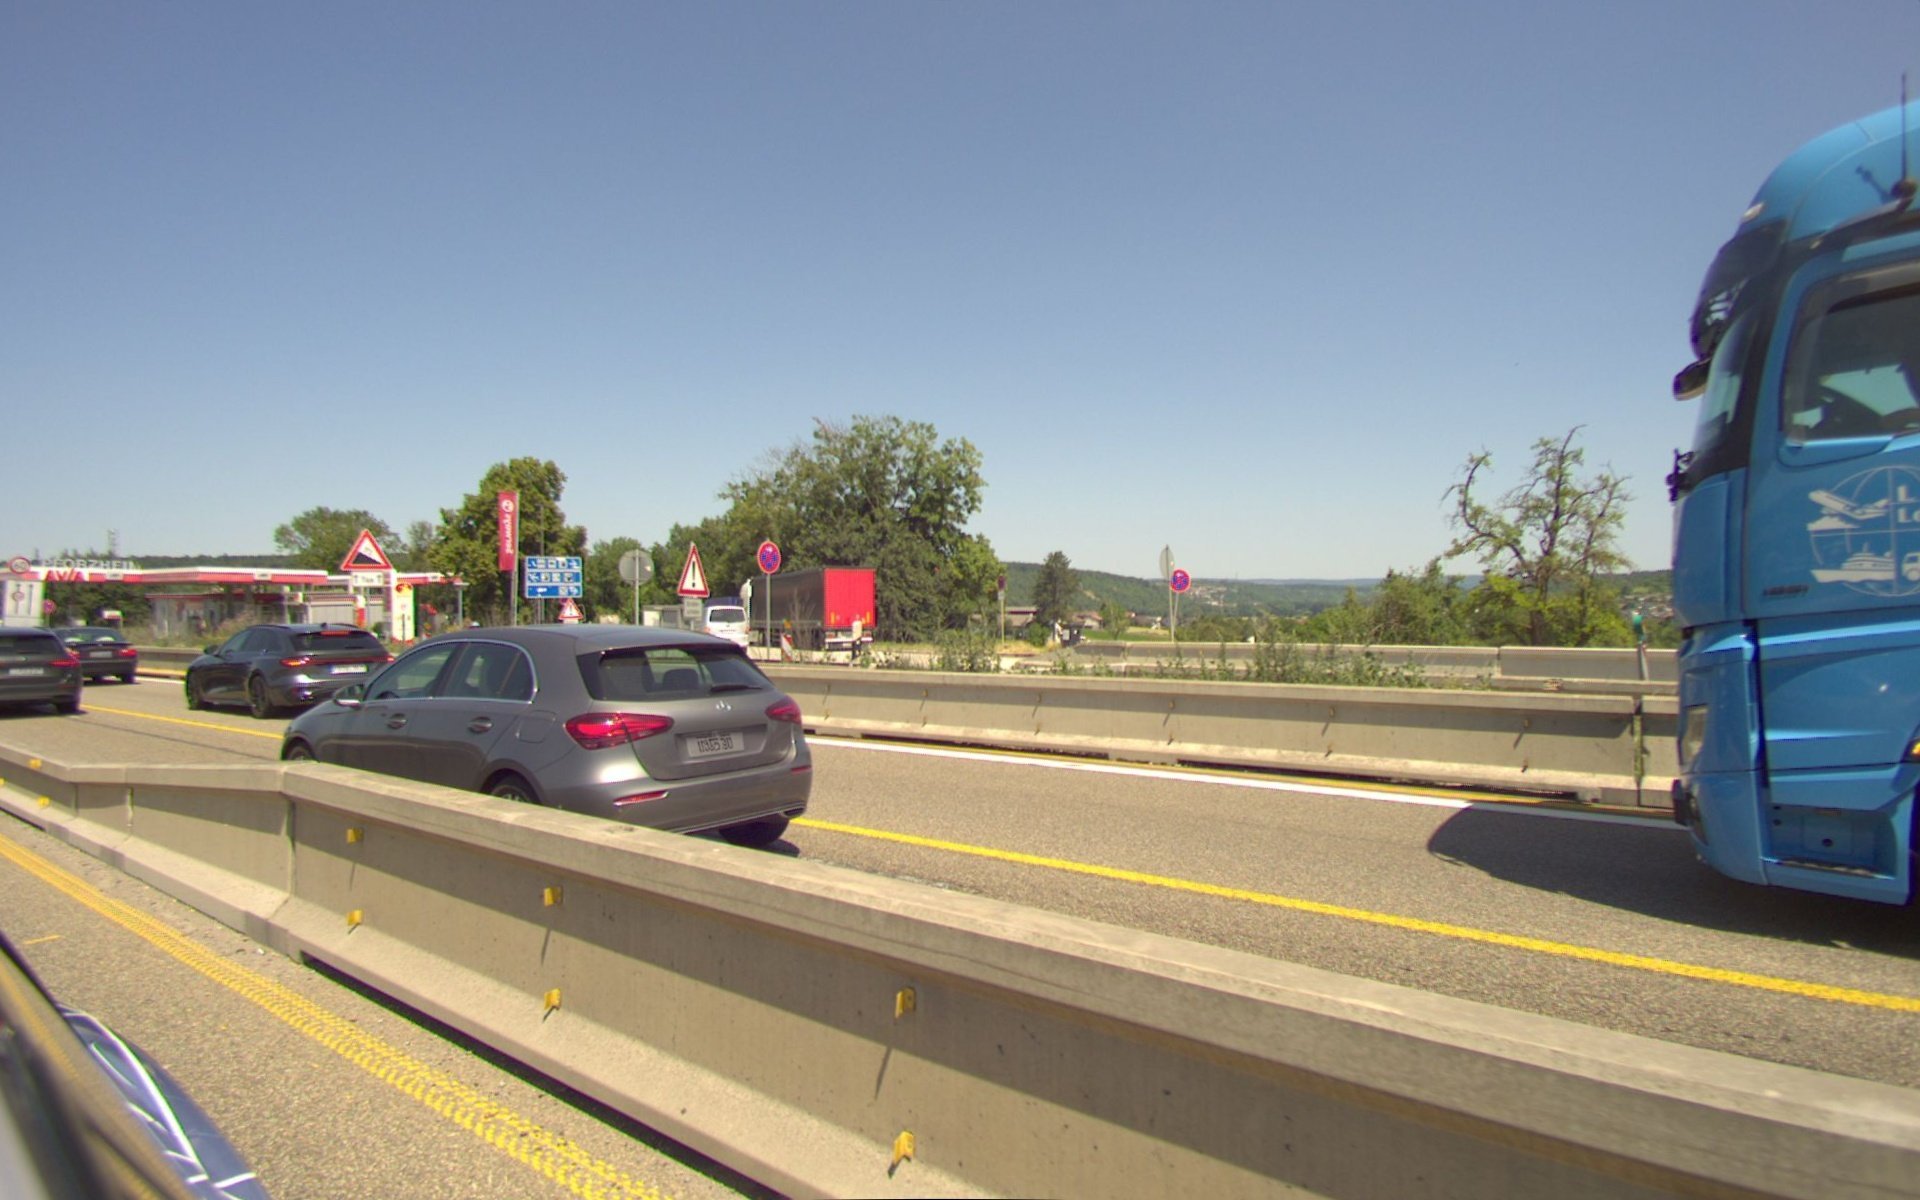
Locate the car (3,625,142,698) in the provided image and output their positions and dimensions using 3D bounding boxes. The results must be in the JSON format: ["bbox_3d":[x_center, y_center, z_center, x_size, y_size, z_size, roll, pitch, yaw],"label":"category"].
[{"bbox_3d":[-21.900,1.467,24.945,3.992,1.609,1.751,-2,0,36],"label":"car"}]

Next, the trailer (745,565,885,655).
[{"bbox_3d":[-8.139,0.642,53.876,3.105,4.142,14.209,0,-1,-26],"label":"trailer"}]

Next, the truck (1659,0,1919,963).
[{"bbox_3d":[6.522,-0.660,3.846,6.130,4.160,2.886,-2,-2,38],"label":"truck"}]

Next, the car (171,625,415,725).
[{"bbox_3d":[-11.115,1.139,16.756,4.572,1.409,1.975,-1,-1,37],"label":"car"}]

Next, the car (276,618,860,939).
[{"bbox_3d":[-2.686,0.875,6.489,4.118,1.452,1.574,-2,-2,37],"label":"car"}]

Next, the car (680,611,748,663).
[{"bbox_3d":[-10.256,1.542,41.889,1.890,1.956,5.110,-1,-2,-23],"label":"car"}]

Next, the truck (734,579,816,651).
[{"bbox_3d":[-10.975,0.901,59.567,3.105,4.015,6.367,0,-2,-26],"label":"truck"}]

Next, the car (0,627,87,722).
[{"bbox_3d":[-16.353,1.196,16.822,4.760,1.438,1.758,-2,-2,36],"label":"car"}]

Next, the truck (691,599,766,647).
[{"bbox_3d":[-15.681,1.548,68.216,2.780,3.087,7.142,0,-2,-31],"label":"truck"}]
